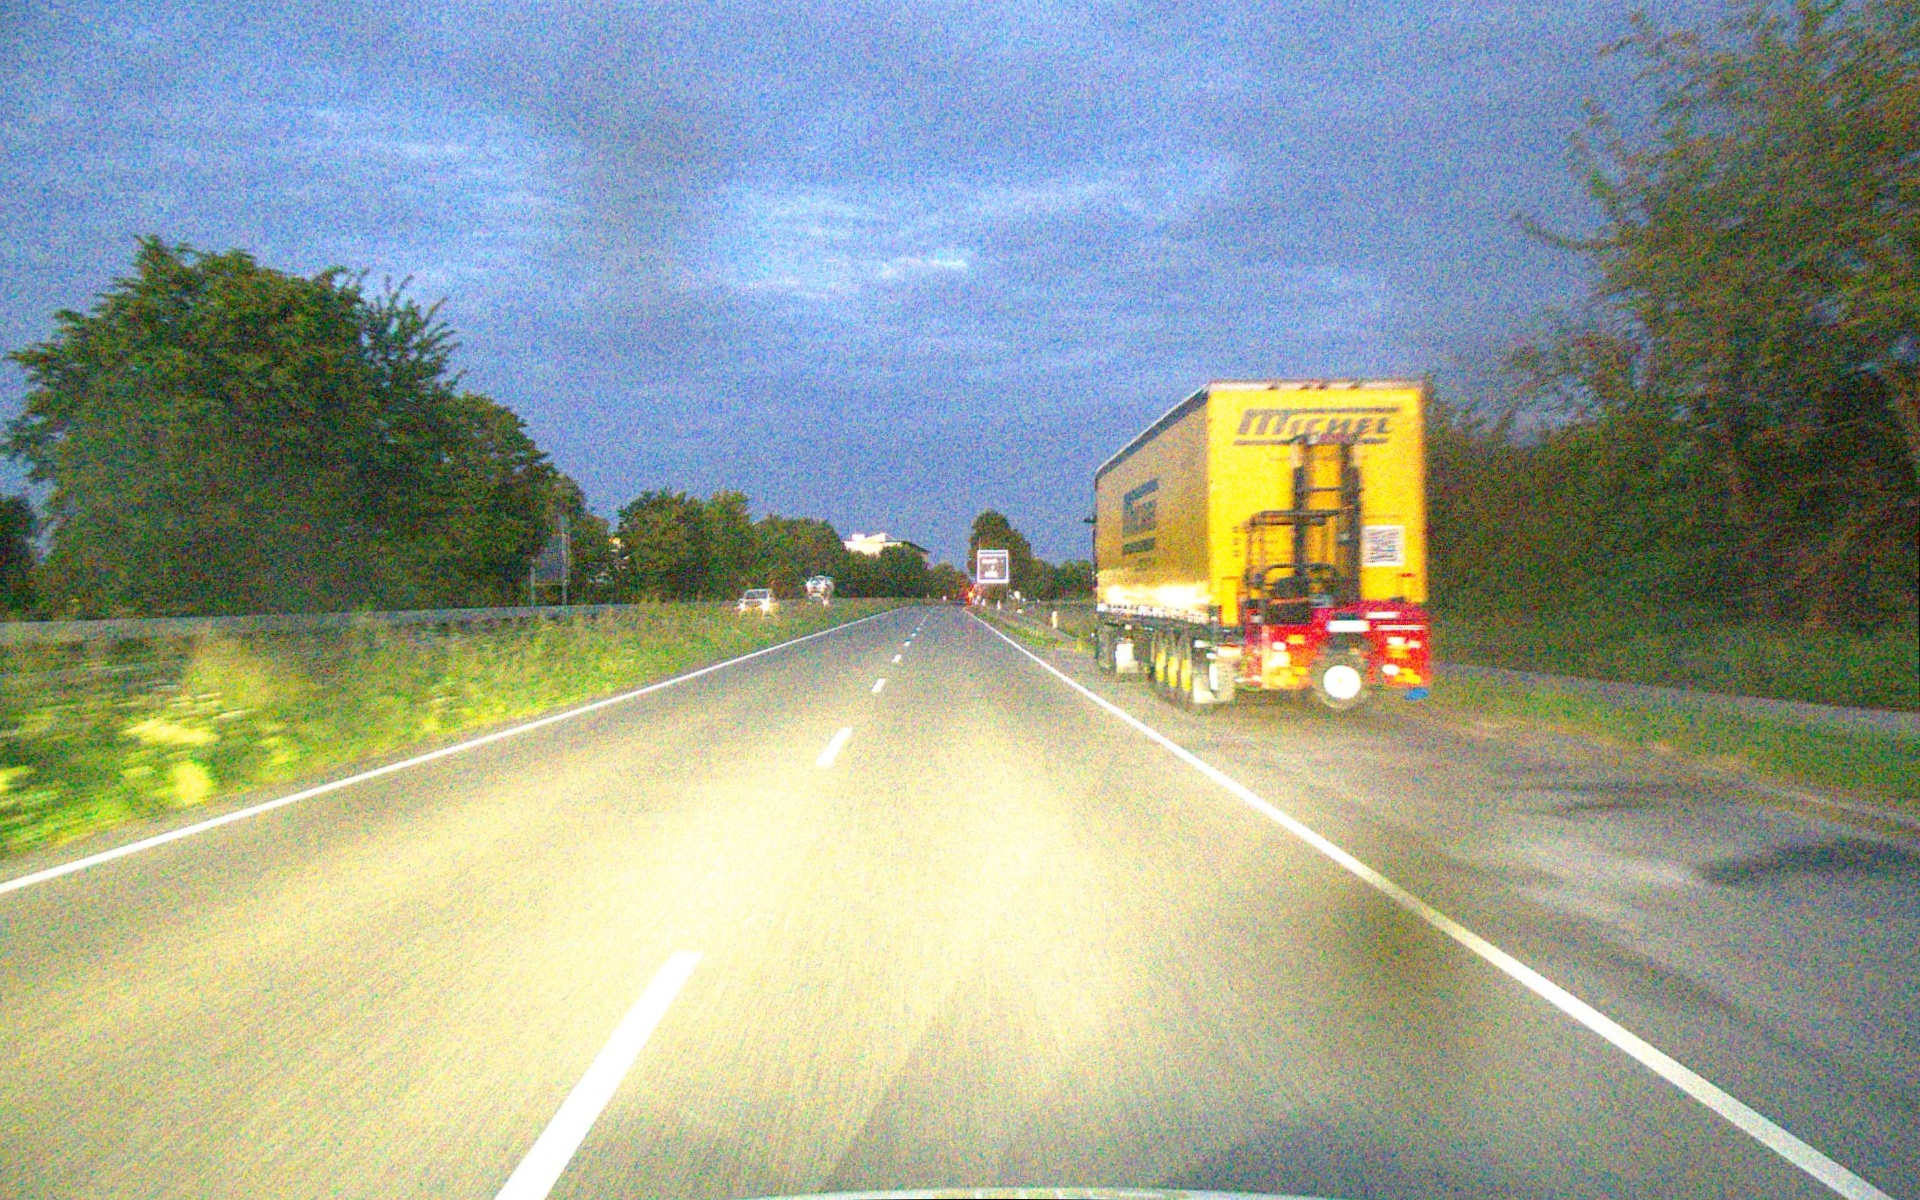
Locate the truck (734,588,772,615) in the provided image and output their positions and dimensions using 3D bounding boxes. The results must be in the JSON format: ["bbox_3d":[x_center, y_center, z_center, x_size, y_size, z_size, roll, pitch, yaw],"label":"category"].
[{"bbox_3d":[-13.602,0.119,108.895,1.975,1.681,4.772,2,0,-2],"label":"truck"}]

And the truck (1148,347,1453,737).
[{"bbox_3d":[4.012,-0.660,20.837,2.526,4.142,6.130,1,1,0],"label":"truck"}]

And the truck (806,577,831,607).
[{"bbox_3d":[-16.772,-0.920,196.438,2.173,3.505,6.714,2,0,0],"label":"truck"}]

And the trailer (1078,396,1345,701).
[{"bbox_3d":[3.911,-0.733,29.167,2.569,4.175,12.935,0,0,-1],"label":"trailer"}]
